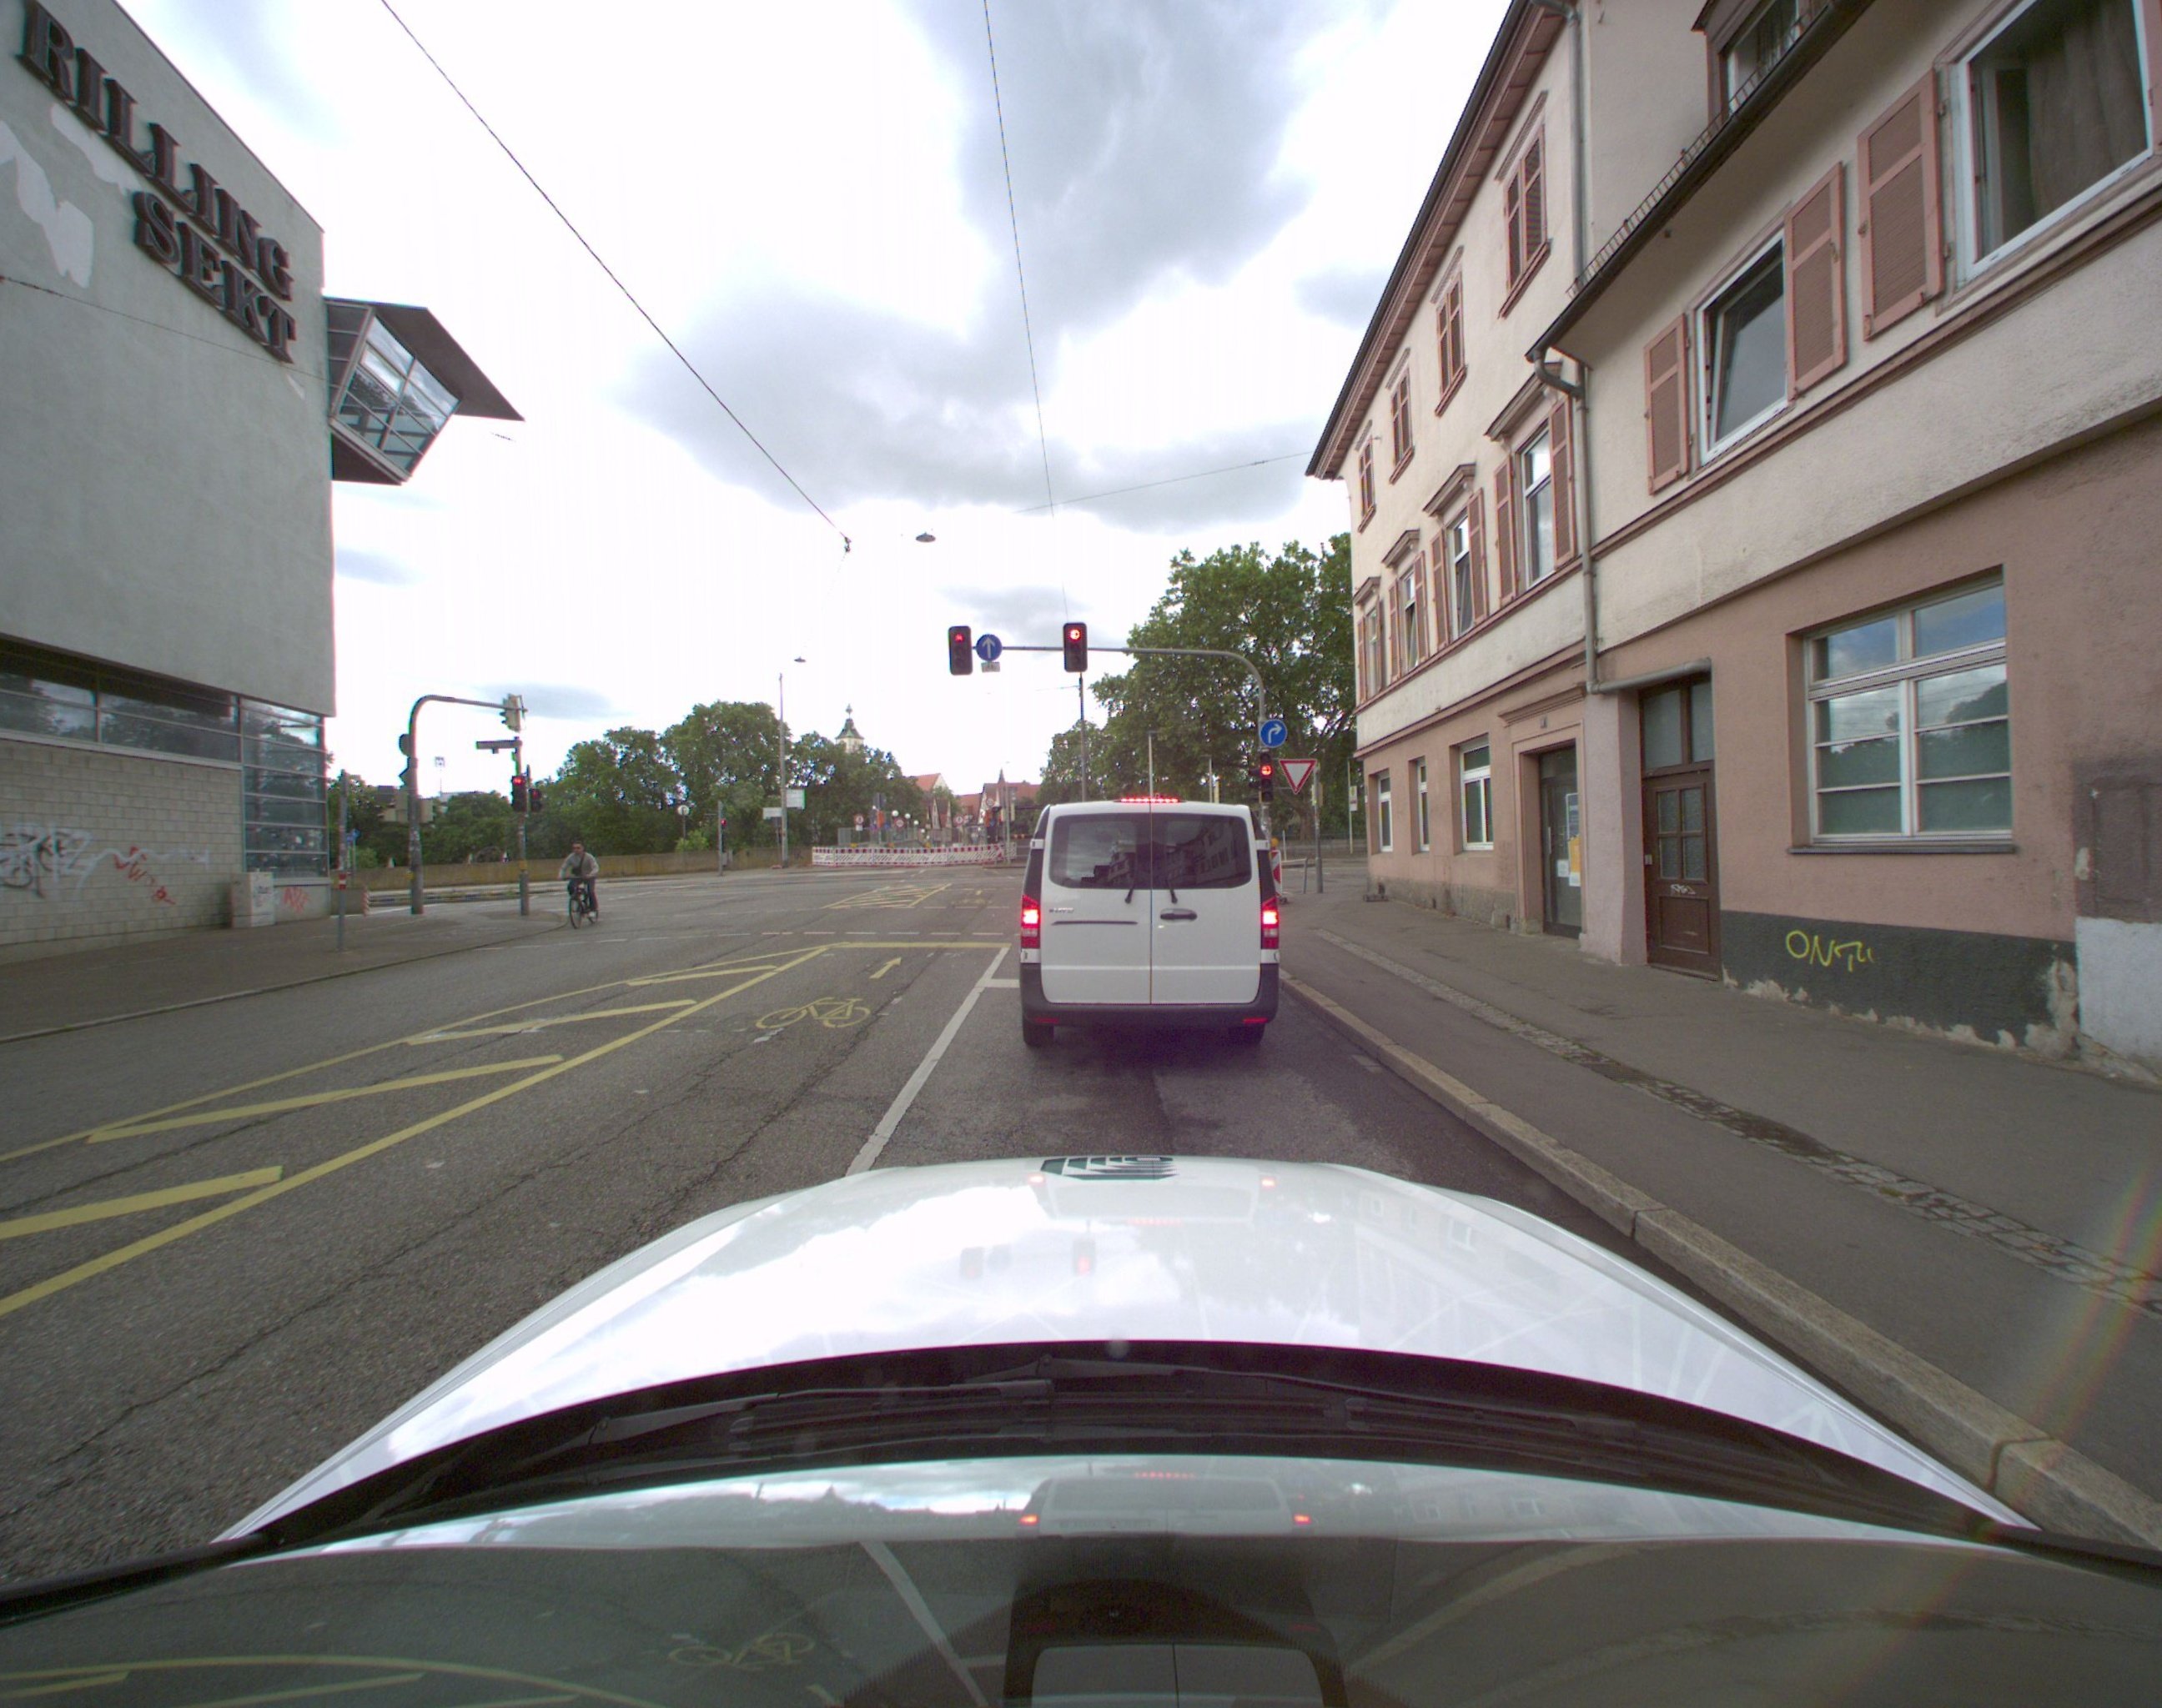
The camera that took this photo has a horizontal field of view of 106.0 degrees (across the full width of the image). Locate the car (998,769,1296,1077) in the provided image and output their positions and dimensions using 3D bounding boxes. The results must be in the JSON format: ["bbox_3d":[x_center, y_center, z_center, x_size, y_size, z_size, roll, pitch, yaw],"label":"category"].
[{"bbox_3d":[0.510,0.403,7.700,1.943,2.013,4.700,0,1,2],"label":"car"}]

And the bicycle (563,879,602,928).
[{"bbox_3d":[-10.295,0.999,16.861,0.544,0.892,1.863,-2,0,-28],"label":"bicycle"}]

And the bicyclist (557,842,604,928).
[{"bbox_3d":[-10.251,0.615,16.701,0.727,1.701,0.803,-2,0,-28],"label":"bicyclist"}]
